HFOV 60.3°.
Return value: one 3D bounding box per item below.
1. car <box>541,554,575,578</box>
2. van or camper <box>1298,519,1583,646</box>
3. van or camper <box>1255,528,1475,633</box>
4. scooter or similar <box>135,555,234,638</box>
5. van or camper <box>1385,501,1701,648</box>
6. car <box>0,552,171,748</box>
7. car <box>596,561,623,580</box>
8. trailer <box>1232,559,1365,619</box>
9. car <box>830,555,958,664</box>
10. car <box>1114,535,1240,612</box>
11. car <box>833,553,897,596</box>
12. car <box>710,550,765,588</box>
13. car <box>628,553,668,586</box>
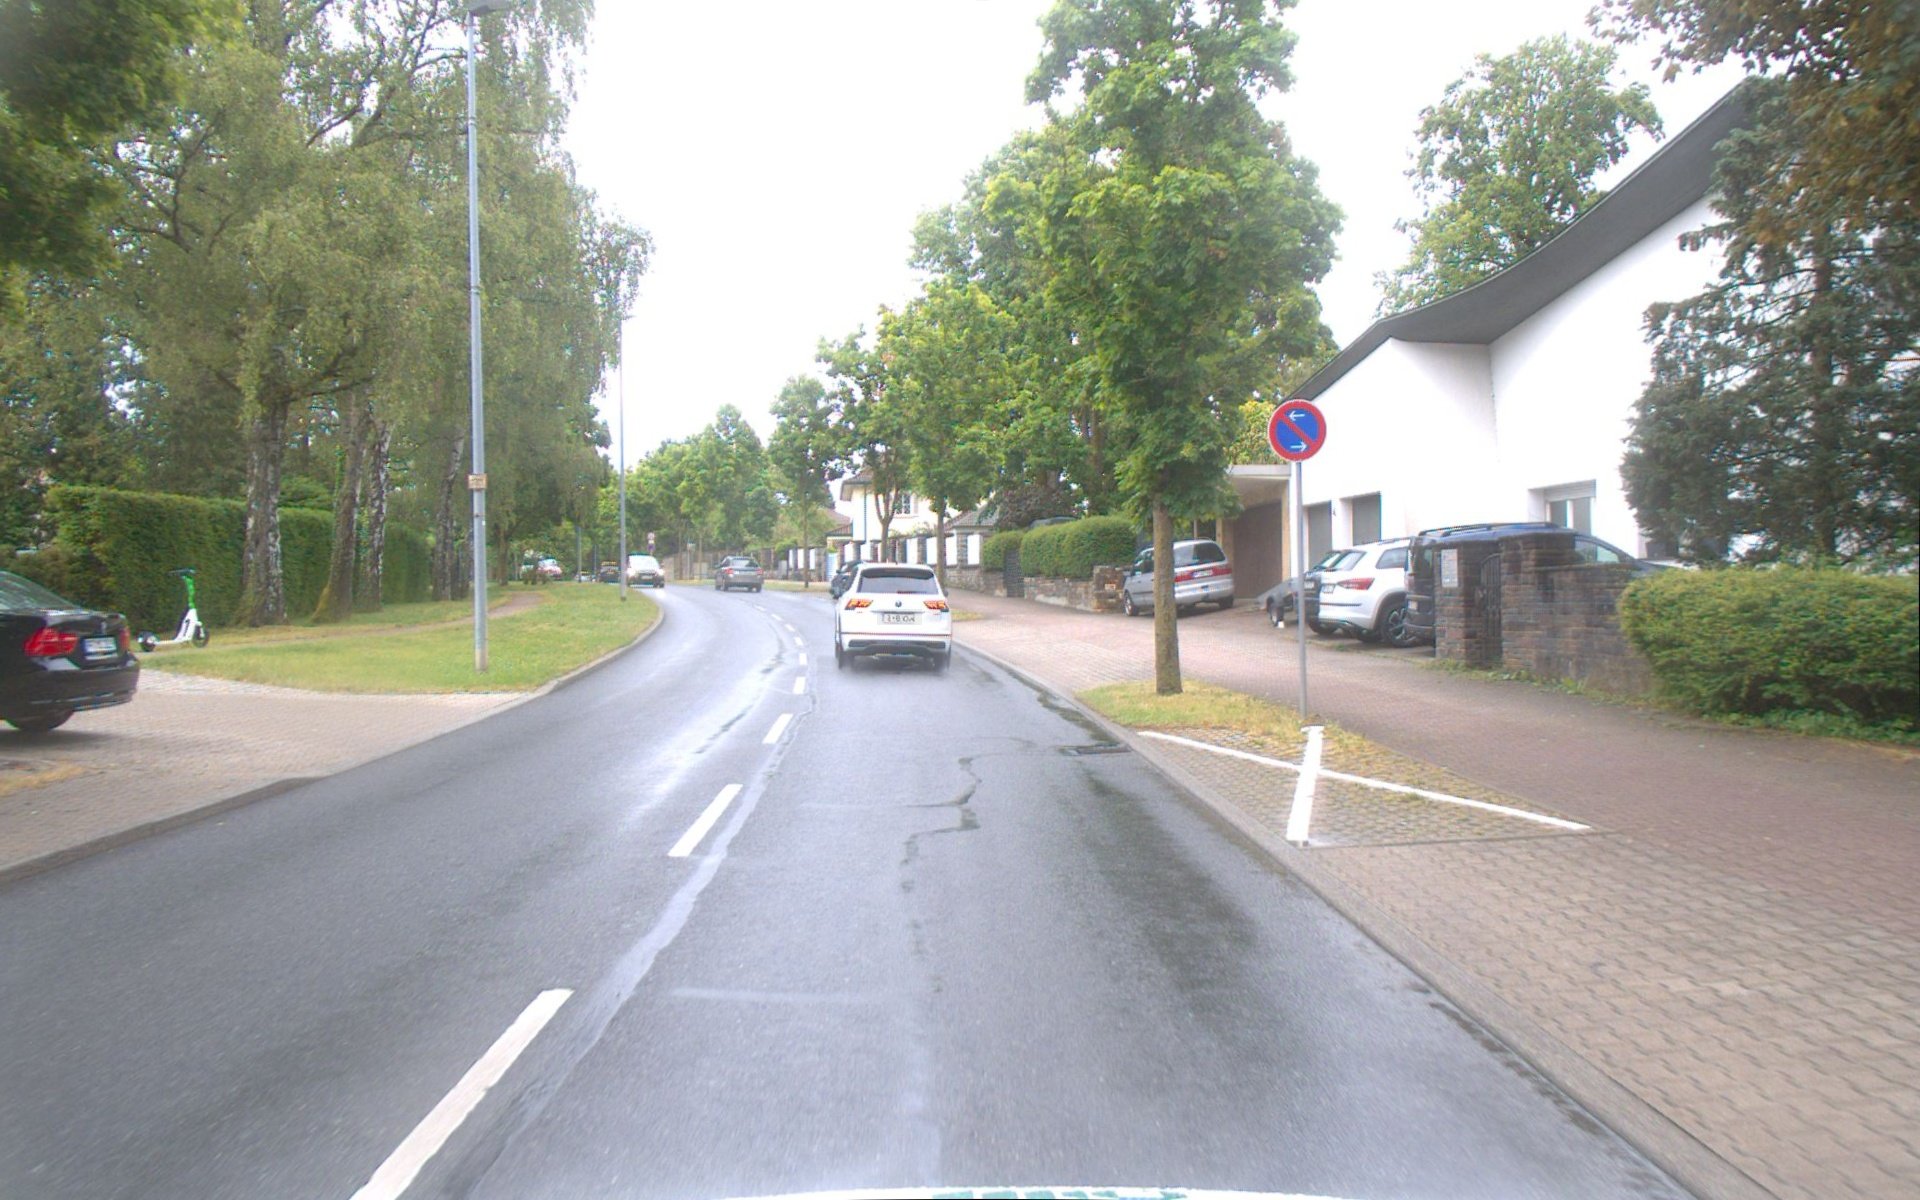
[{"bbox_3d":[-26.151,-2.193,107.492,1.815,1.491,4.228,0,1,-18],"label":"car"},{"bbox_3d":[7.800,-0.305,27.105,3.911,1.706,2.121,-4,1,-6],"label":"van or camper"},{"bbox_3d":[7.216,-0.360,29.630,3.342,1.582,1.765,-4,1,-11],"label":"van or camper"},{"bbox_3d":[-11.462,-0.073,24.484,0.415,1.178,1.491,2,2,18],"label":"scooter or similar"},{"bbox_3d":[8.620,-0.394,24.685,3.935,1.819,1.946,-4,1,-3],"label":"van or camper"},{"bbox_3d":[-9.032,0.279,13.410,4.339,1.442,1.755,3,0,-2],"label":"car"},{"bbox_3d":[-28.336,-2.391,133.735,1.822,1.442,4.209,1,2,-16],"label":"car"},{"bbox_3d":[6.697,-0.226,32.995,1.395,0.936,3.267,-8,2,-10],"label":"trailer"},{"bbox_3d":[-1.090,0.101,27.392,1.957,1.660,3.999,1,1,-2],"label":"car"},{"bbox_3d":[5.336,-0.679,41.282,1.761,1.788,4.933,-1,2,-9],"label":"car"},{"bbox_3d":[-3.396,-0.930,58.562,1.613,1.401,3.816,-2,2,-13],"label":"car"},{"bbox_3d":[-9.650,-1.372,71.517,1.810,1.512,3.984,1,2,-16],"label":"car"},{"bbox_3d":[-14.567,-1.444,77.155,1.724,1.466,4.145,1,2,-12],"label":"car"}]
